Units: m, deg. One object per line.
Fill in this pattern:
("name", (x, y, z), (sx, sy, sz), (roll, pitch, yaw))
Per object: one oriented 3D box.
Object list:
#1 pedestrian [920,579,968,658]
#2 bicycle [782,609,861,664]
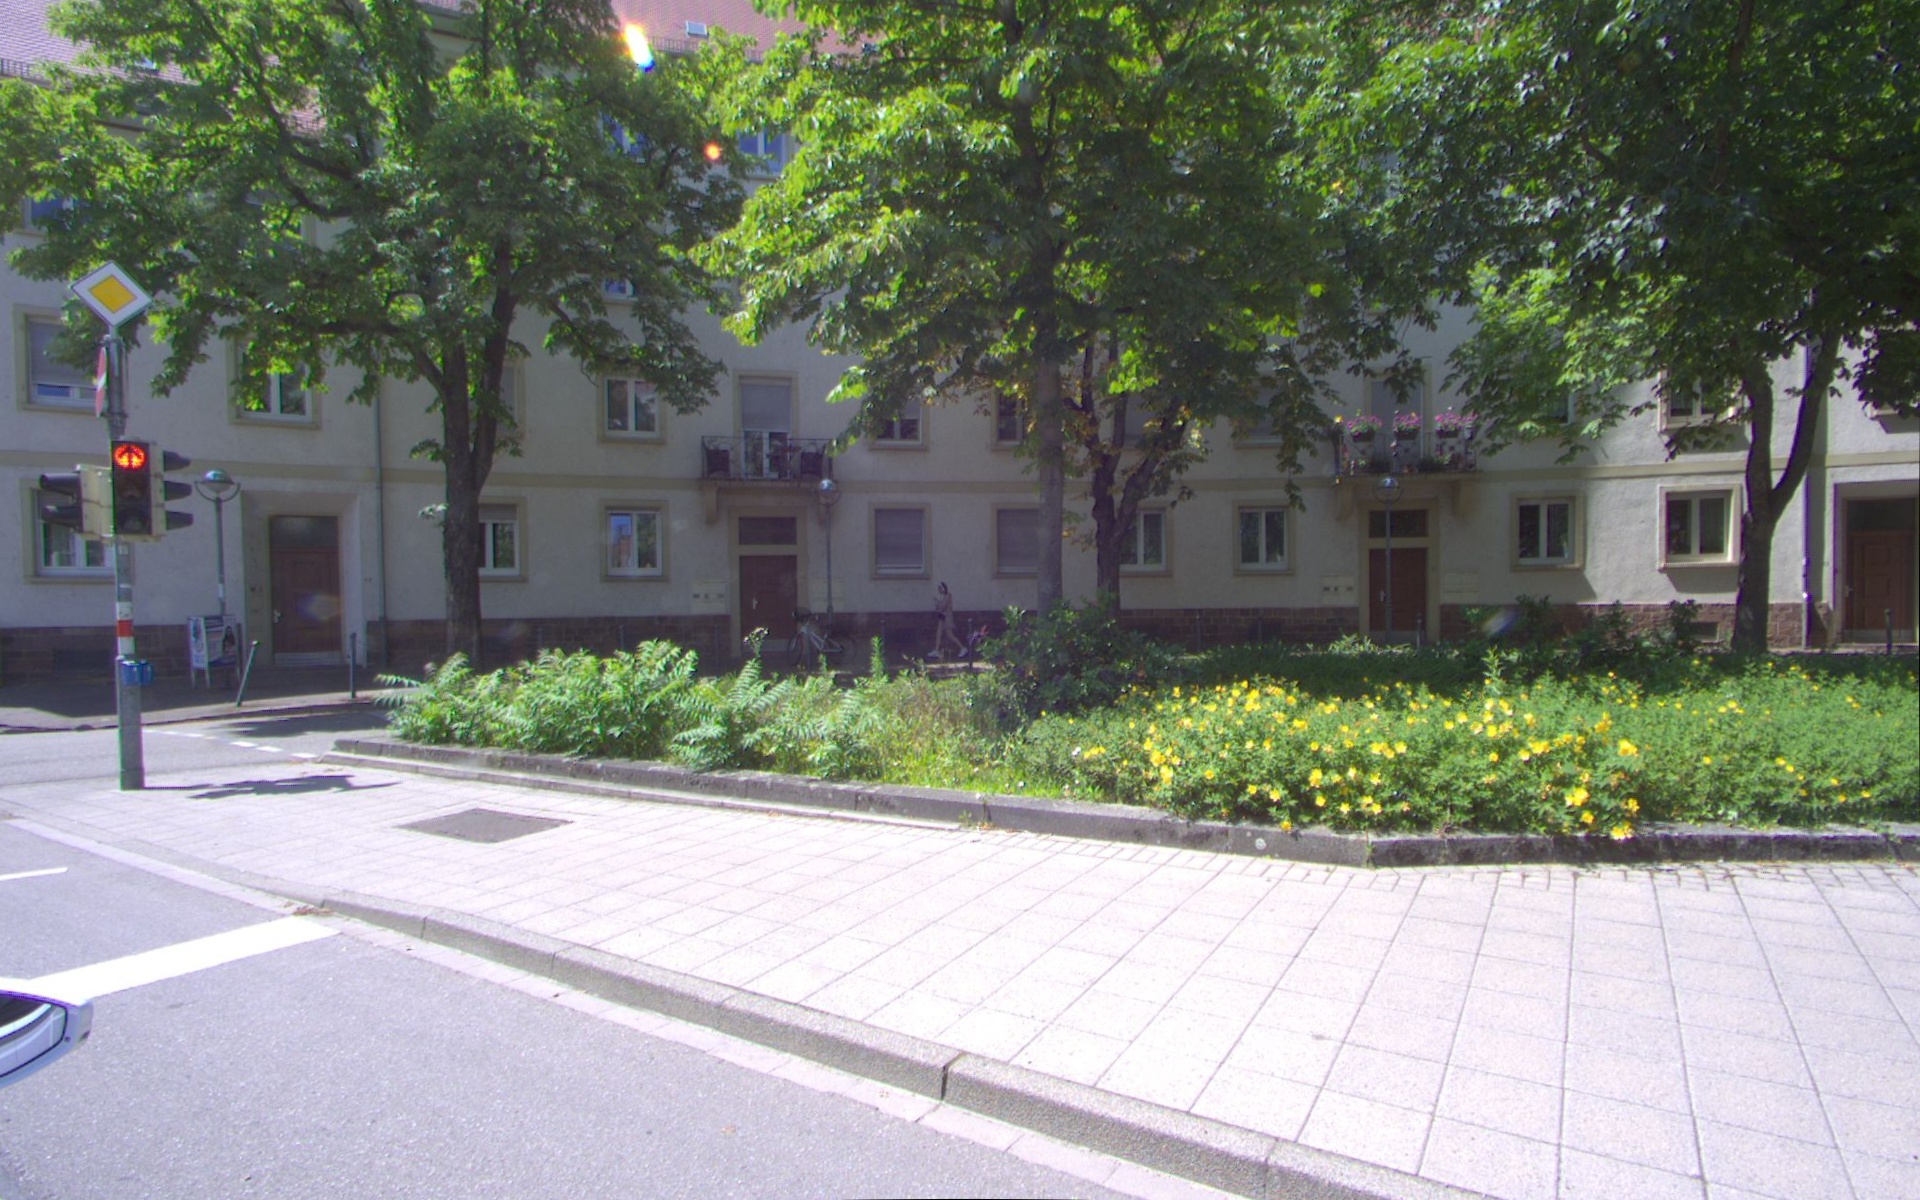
("pedestrian", (-0.361, 0.406, 22.756), (1.037, 1.715, 0.652), (-1, 6, -3))
("bicycle", (-2.867, 0.752, 20.867), (1.575, 1.119, 0.525), (-1, 1, -4))
